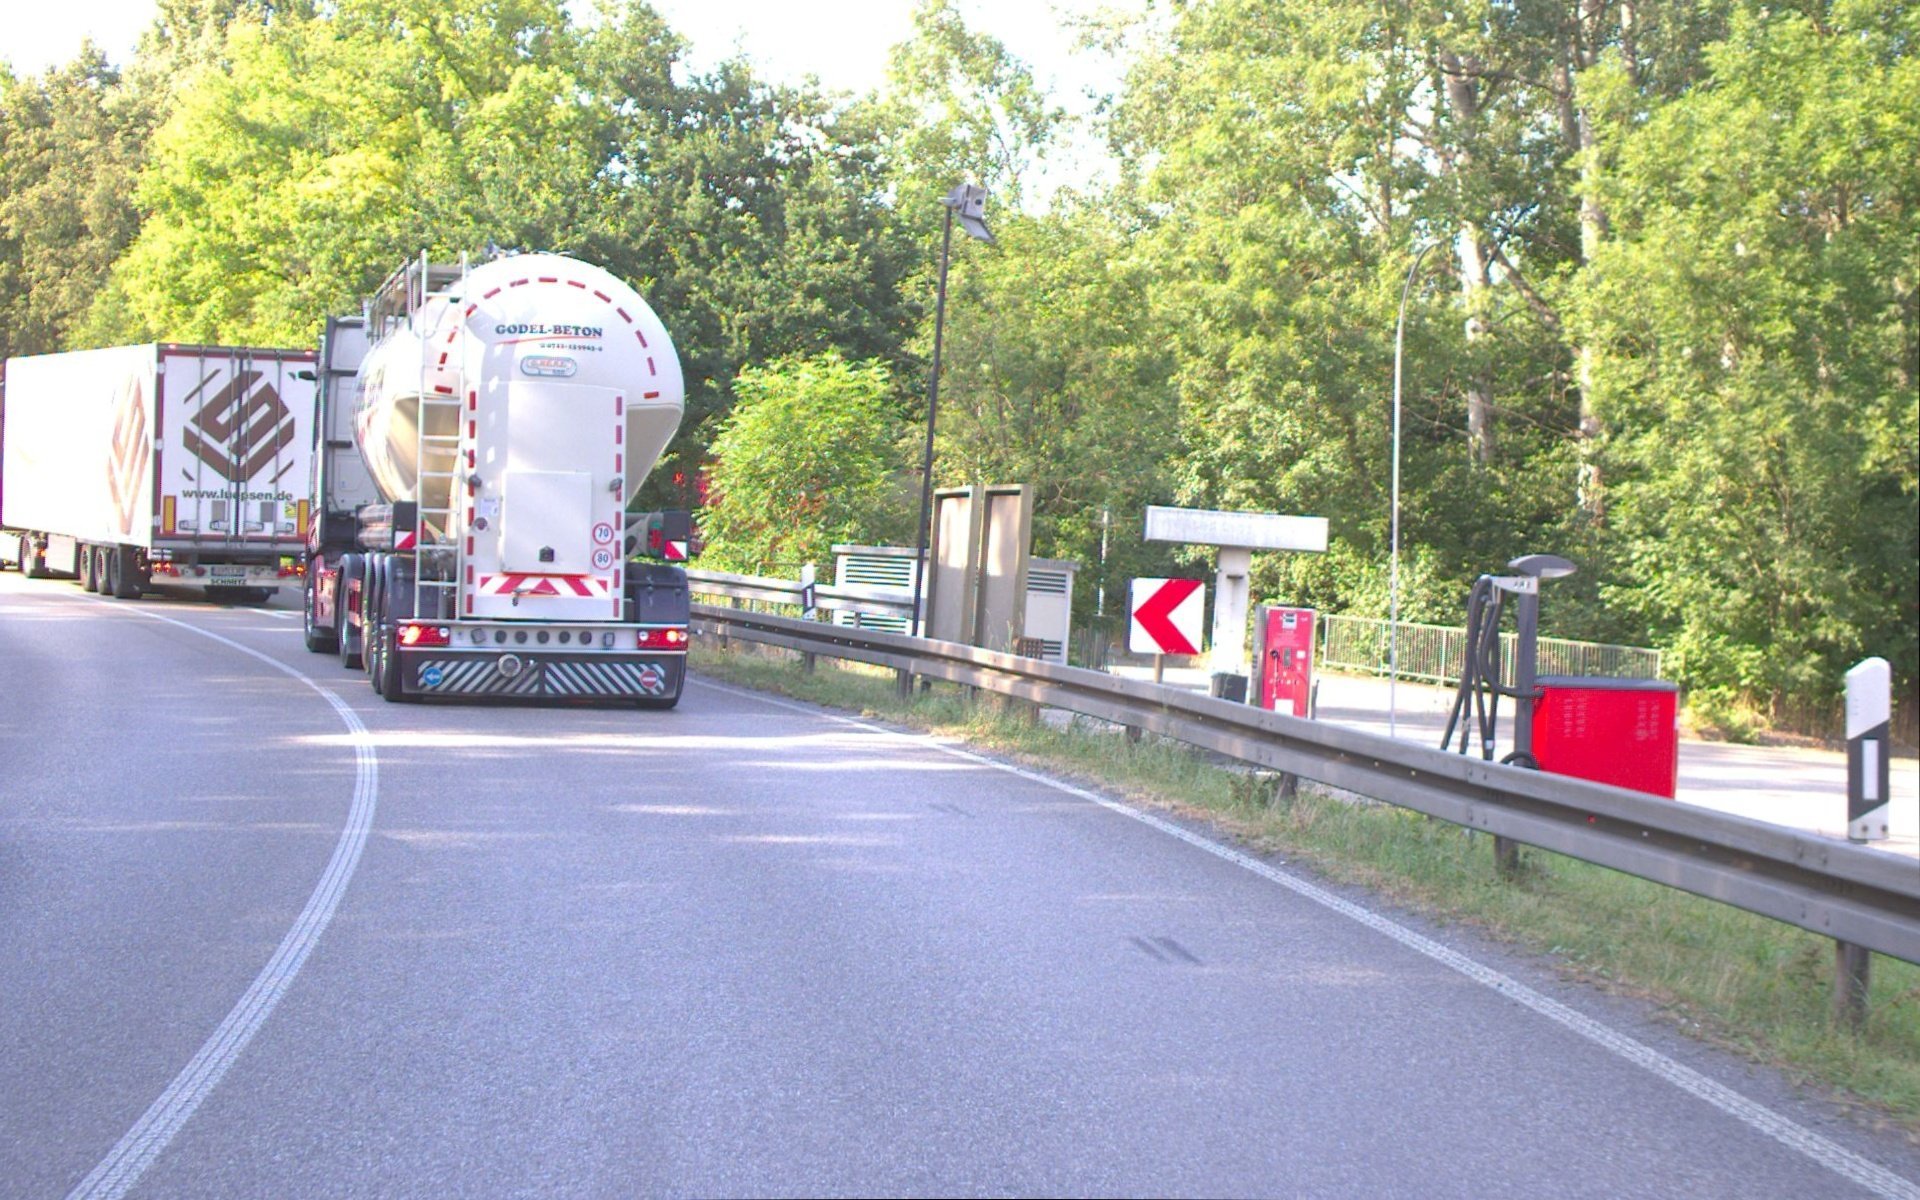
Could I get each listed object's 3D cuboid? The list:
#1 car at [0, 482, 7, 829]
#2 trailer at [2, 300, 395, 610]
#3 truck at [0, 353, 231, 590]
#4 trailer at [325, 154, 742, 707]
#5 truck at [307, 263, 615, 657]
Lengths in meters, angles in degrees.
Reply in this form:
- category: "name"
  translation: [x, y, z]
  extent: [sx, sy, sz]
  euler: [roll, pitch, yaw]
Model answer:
- category: "car"
  translation: [-5.169, 0.319, 14.161]
  extent: [1.867, 1.647, 4.551]
  euler: [0, 2, -9]
- category: "trailer"
  translation: [-13.152, -2.387, 58.037]
  extent: [3.545, 4.497, 12.987]
  euler: [3, 1, -25]
- category: "truck"
  translation: [-16.415, -2.409, 64.846]
  extent: [3.449, 4.072, 6.492]
  euler: [3, 1, -27]
- category: "trailer"
  translation: [-4.342, -1.474, 32.859]
  extent: [2.886, 4.439, 9.609]
  euler: [1, 1, -13]
- category: "truck"
  translation: [-5.703, -1.507, 38.522]
  extent: [2.823, 4.021, 5.896]
  euler: [1, 1, -14]
